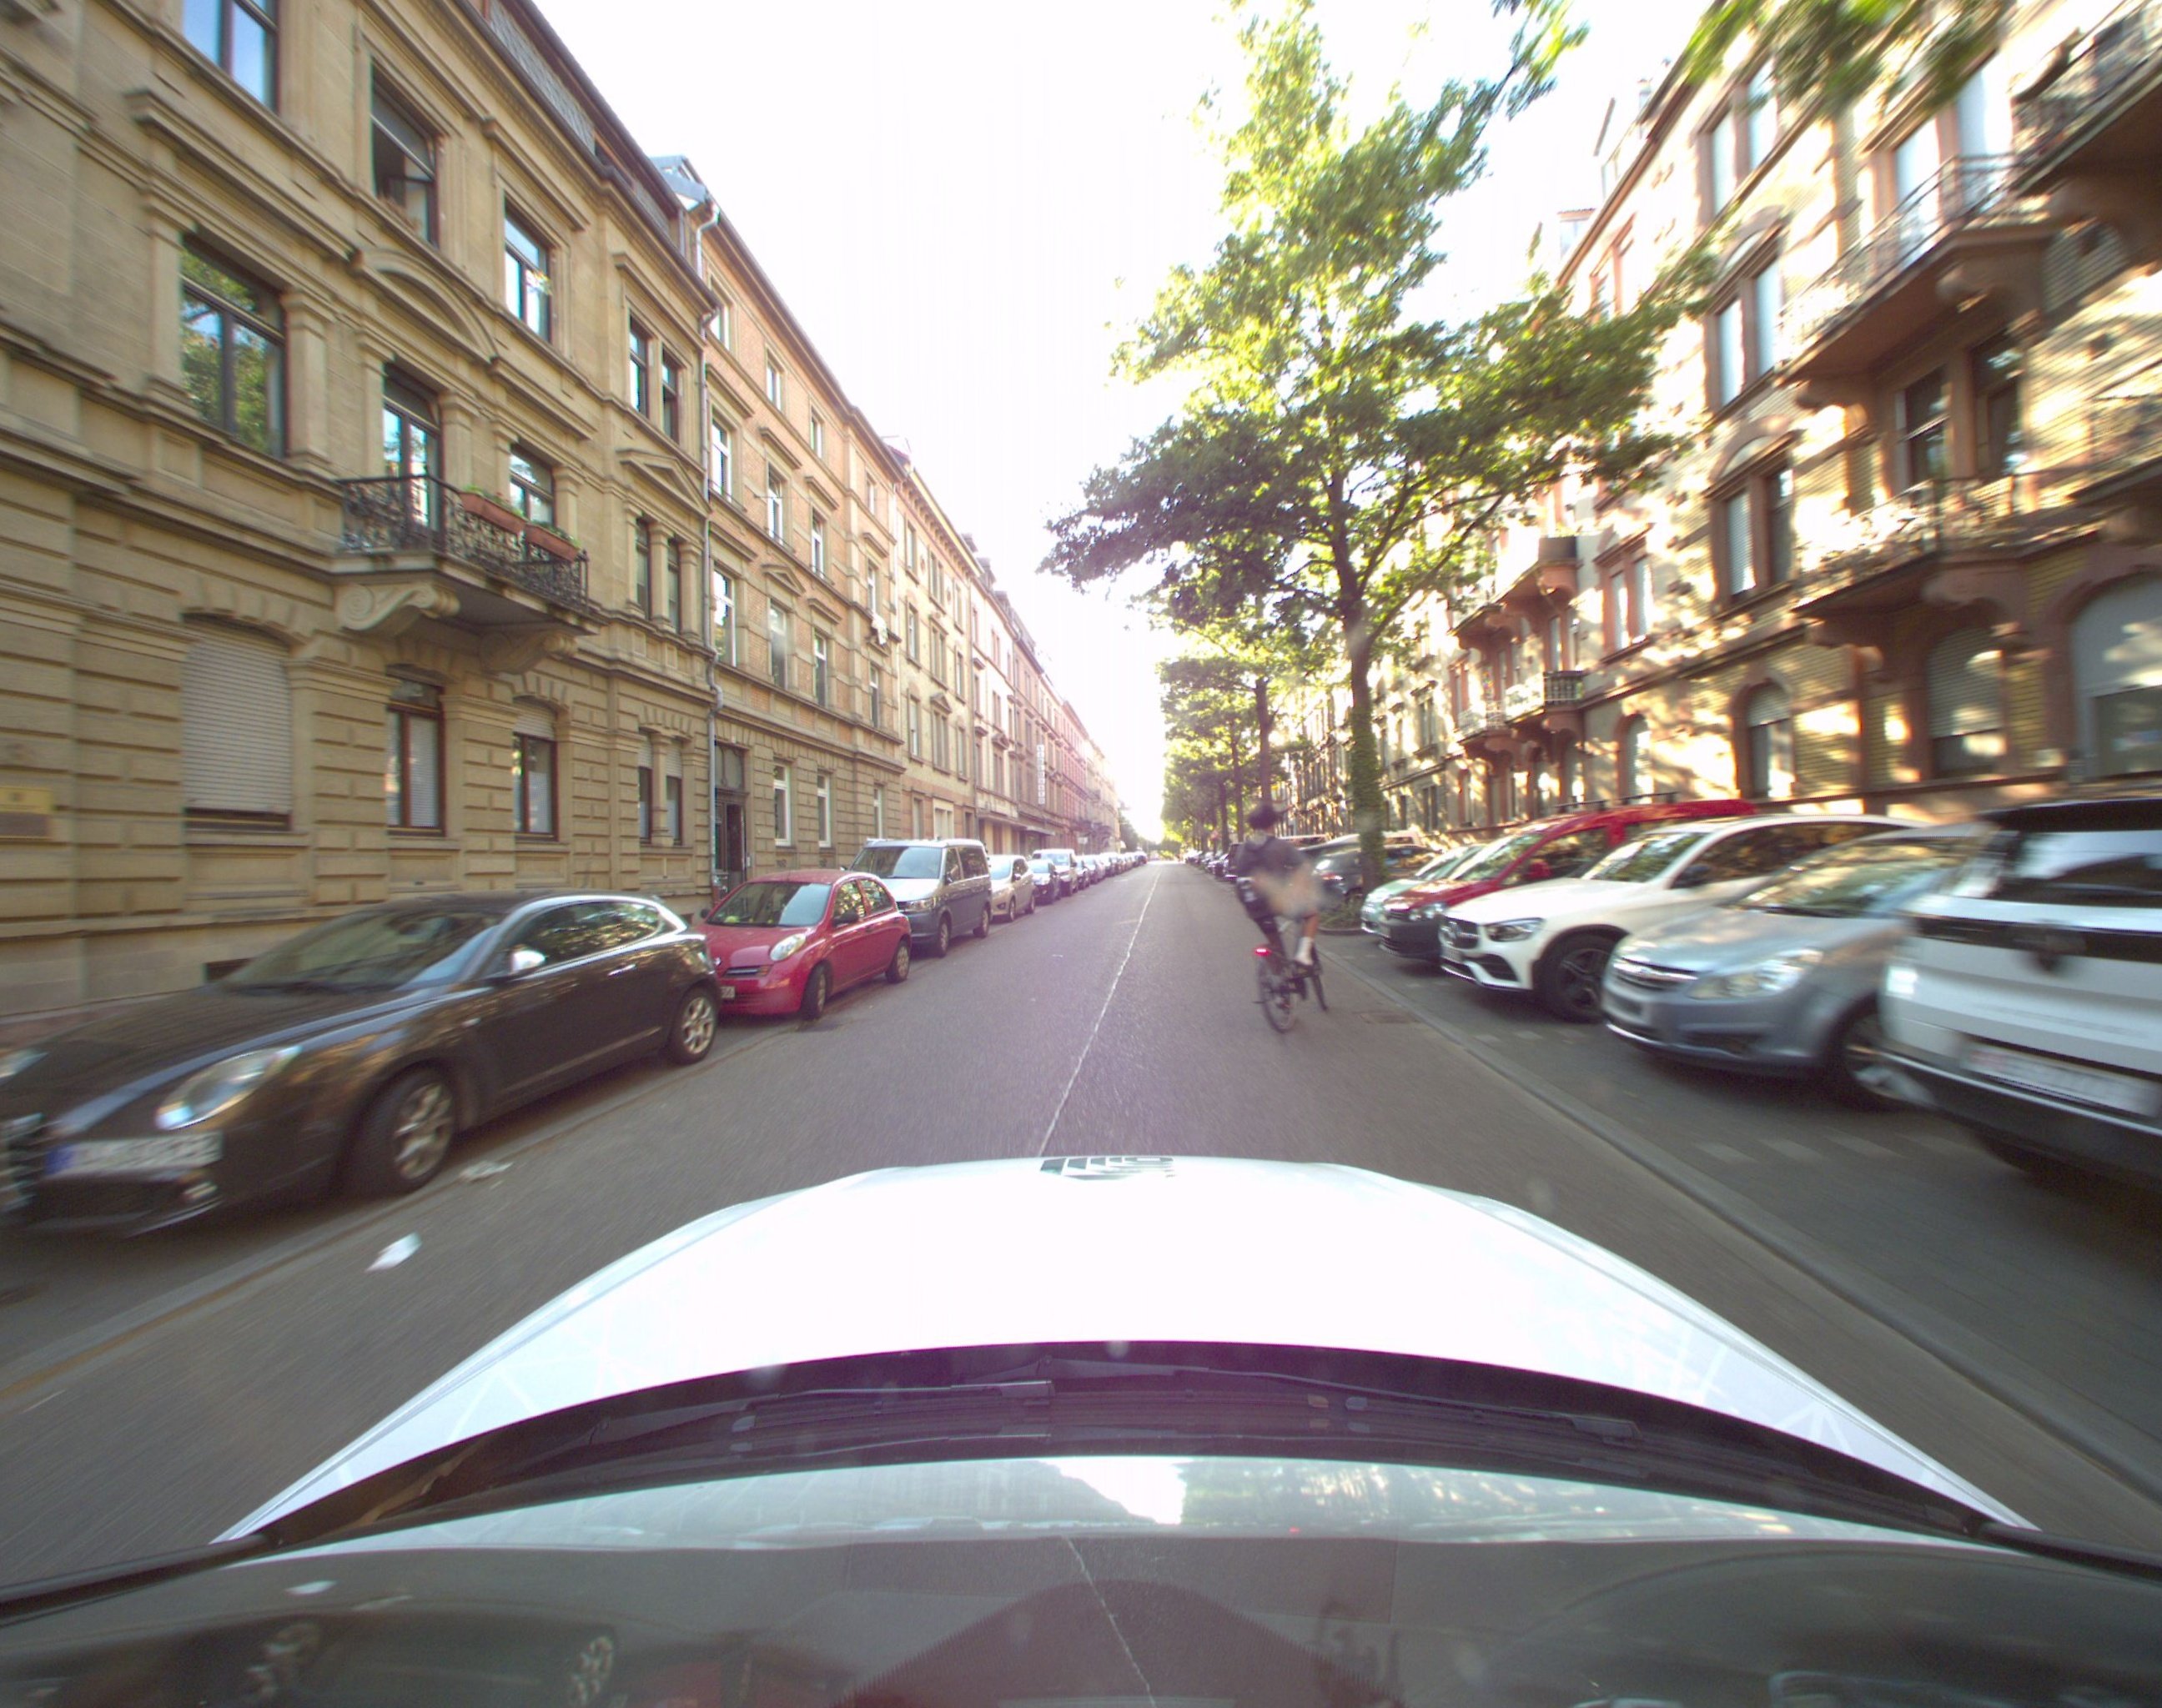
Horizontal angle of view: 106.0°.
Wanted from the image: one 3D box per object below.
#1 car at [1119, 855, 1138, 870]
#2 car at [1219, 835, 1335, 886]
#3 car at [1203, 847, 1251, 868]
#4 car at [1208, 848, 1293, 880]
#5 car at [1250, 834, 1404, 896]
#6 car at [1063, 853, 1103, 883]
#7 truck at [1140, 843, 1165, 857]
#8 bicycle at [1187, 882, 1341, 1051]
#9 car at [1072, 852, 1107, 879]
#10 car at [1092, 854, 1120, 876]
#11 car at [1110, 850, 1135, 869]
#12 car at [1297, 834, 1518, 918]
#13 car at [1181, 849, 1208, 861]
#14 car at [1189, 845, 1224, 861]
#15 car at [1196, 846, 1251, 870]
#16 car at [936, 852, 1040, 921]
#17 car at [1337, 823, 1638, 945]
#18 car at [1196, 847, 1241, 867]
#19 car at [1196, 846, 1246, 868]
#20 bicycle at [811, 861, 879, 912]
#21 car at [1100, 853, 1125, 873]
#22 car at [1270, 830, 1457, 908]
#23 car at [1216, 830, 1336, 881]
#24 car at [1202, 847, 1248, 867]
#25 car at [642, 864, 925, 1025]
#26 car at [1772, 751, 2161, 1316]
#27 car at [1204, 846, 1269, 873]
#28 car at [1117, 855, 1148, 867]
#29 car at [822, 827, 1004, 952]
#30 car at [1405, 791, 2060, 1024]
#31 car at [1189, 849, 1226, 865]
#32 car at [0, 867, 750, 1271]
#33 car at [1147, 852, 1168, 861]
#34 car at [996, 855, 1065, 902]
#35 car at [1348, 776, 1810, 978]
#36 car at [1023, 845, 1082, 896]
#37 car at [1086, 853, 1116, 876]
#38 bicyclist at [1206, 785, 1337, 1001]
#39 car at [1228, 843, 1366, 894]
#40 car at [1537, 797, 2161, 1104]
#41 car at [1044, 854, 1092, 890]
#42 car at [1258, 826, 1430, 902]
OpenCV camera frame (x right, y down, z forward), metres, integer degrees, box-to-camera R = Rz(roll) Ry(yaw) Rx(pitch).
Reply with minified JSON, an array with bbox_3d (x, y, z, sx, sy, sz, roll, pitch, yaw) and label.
[{"bbox_3d":[5.356,0.963,92.057,1.984,1.486,4.005,-2,-2,5],"label":"car"},{"bbox_3d":[8.030,0.261,33.476,4.227,1.795,1.826,-4,0,-14],"label":"car"},{"bbox_3d":[12.869,0.279,71.880,3.840,1.574,1.716,-4,0,-2],"label":"car"},{"bbox_3d":[8.297,0.501,40.087,3.835,1.293,1.719,-4,0,2],"label":"car"},{"bbox_3d":[7.607,0.337,25.452,4.209,1.611,1.834,-4,0,-2],"label":"car"},{"bbox_3d":[0.146,0.704,43.716,1.750,1.473,4.064,-2,0,5],"label":"car"},{"bbox_3d":[20.285,-1.228,230.946,7.269,3.950,2.413,0,0,-31],"label":"truck"},{"bbox_3d":[1.793,0.879,7.466,0.987,1.158,2.937,-2,-1,20],"label":"bicycle"},{"bbox_3d":[0.571,0.662,48.575,1.750,1.473,4.064,-2,0,5],"label":"car"},{"bbox_3d":[1.868,0.747,59.536,1.750,1.473,4.064,-2,0,5],"label":"car"},{"bbox_3d":[3.665,0.525,71.961,1.984,1.486,4.005,-2,-2,5],"label":"car"},{"bbox_3d":[6.815,0.458,17.375,3.990,1.467,1.736,-4,-1,5],"label":"car"},{"bbox_3d":[17.339,0.188,124.480,3.832,1.574,1.720,-4,0,5],"label":"car"},{"bbox_3d":[14.506,-0.121,94.255,3.832,1.574,1.720,-4,0,5],"label":"car"},{"bbox_3d":[10.873,0.315,62.270,3.840,1.574,1.716,-4,0,-2],"label":"car"},{"bbox_3d":[-2.294,0.753,21.259,1.744,1.608,4.391,0,0,6],"label":"car"},{"bbox_3d":[6.083,0.418,12.515,3.647,1.455,1.850,-5,1,-1],"label":"car"},{"bbox_3d":[12.903,0.303,76.552,3.840,1.574,1.716,-4,0,-2],"label":"car"},{"bbox_3d":[11.934,0.268,69.550,3.840,1.574,1.716,-4,0,-2],"label":"car"},{"bbox_3d":[-6.267,0.832,21.843,0.737,1.255,2.831,-1,0,5],"label":"bicycle"},{"bbox_3d":[2.582,0.728,66.001,1.750,1.473,4.064,-2,0,5],"label":"car"},{"bbox_3d":[6.870,0.368,20.135,3.990,1.607,1.736,-4,-1,5],"label":"car"},{"bbox_3d":[8.833,0.061,37.159,5.032,1.925,1.838,-4,0,5],"label":"car"},{"bbox_3d":[13.160,0.262,74.480,3.840,1.574,1.716,-4,0,-2],"label":"car"},{"bbox_3d":[-3.233,0.886,9.690,1.583,1.475,3.708,0,0,8],"label":"car"},{"bbox_3d":[5.101,0.403,2.651,3.992,1.628,1.807,-4,-1,4],"label":"car"},{"bbox_3d":[9.981,0.363,52.335,3.835,1.479,1.719,-4,0,2],"label":"car"},{"bbox_3d":[6.478,0.866,102.346,1.974,1.486,4.025,-4,-3,38],"label":"car"},{"bbox_3d":[-2.869,0.546,15.315,1.823,1.943,5.269,0,0,6],"label":"car"},{"bbox_3d":[5.521,0.436,7.450,4.323,1.556,1.853,-4,1,5],"label":"car"},{"bbox_3d":[13.822,0.321,89.394,3.832,1.574,1.720,-4,0,5],"label":"car"},{"bbox_3d":[-4.001,0.866,5.253,1.750,1.501,4.066,0,0,5],"label":"car"},{"bbox_3d":[16.026,0.564,170.760,3.958,1.859,1.758,-1,0,14],"label":"car"},{"bbox_3d":[-1.637,0.767,27.622,1.750,1.467,4.005,0,0,5],"label":"car"},{"bbox_3d":[5.847,0.254,10.034,4.425,1.924,1.852,-4,0,3],"label":"car"},{"bbox_3d":[-1.065,0.599,32.609,1.750,1.842,4.535,-2,0,5],"label":"car"},{"bbox_3d":[1.391,0.680,54.787,1.750,1.473,4.064,-2,0,5],"label":"car"},{"bbox_3d":[1.781,0.342,7.480,0.987,1.790,1.213,-2,-1,20],"label":"bicyclist"},{"bbox_3d":[7.314,0.472,27.870,4.206,1.403,1.835,-4,0,1],"label":"car"},{"bbox_3d":[5.400,0.474,5.089,3.991,1.434,1.797,-4,-1,5],"label":"car"},{"bbox_3d":[-0.531,0.787,37.641,1.750,1.473,4.064,-2,0,5],"label":"car"},{"bbox_3d":[7.237,0.279,22.766,4.201,1.776,1.837,-4,0,4],"label":"car"}]
